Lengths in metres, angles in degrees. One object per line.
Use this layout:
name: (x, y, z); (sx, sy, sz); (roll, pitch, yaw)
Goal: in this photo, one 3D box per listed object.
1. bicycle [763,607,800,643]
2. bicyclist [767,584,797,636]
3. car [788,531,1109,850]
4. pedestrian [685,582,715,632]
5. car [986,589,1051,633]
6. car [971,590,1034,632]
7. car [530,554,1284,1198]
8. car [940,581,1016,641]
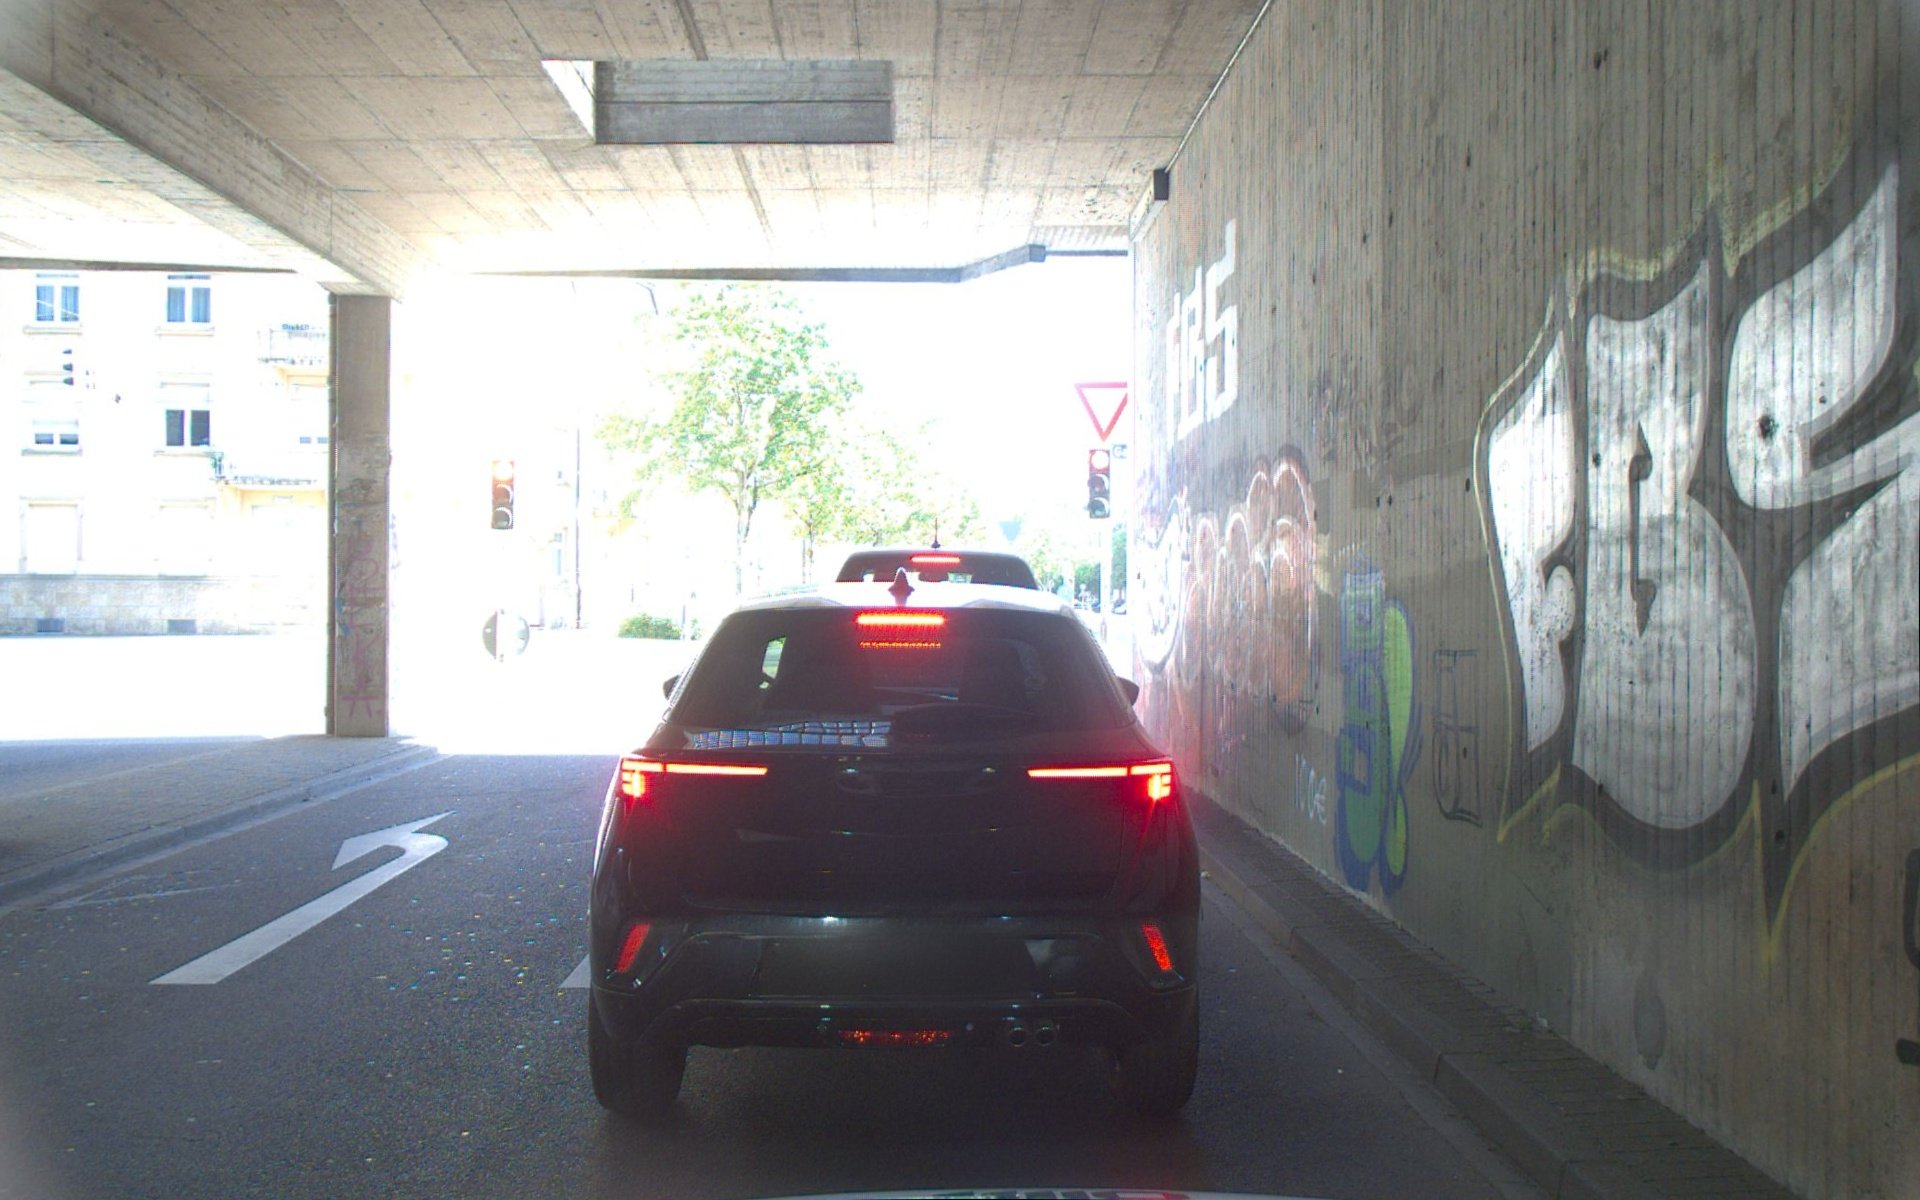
bicycle: (-5.555, 0.771, 51.414); (0.716, 1.086, 1.690); (1, 0, 9)
bicyclist: (-5.536, 0.306, 51.447); (0.713, 1.609, 0.815); (1, -1, 9)
car: (-0.095, 0.527, 11.876); (1.906, 1.892, 3.963); (0, 0, -1)
pedestrian: (-10.772, 0.269, 68.582); (0.971, 2.049, 1.089); (0, 0, 7)
car: (2.470, 0.479, 69.030); (2.173, 1.749, 4.463); (0, -1, 9)
car: (1.624, 0.437, 62.208); (1.926, 1.523, 3.899); (0, -1, 8)
car: (-0.154, 0.666, 6.051); (1.844, 1.565, 3.963); (0, 0, -1)
car: (0.498, 0.331, 44.170); (1.927, 1.523, 3.896); (0, -1, 1)
